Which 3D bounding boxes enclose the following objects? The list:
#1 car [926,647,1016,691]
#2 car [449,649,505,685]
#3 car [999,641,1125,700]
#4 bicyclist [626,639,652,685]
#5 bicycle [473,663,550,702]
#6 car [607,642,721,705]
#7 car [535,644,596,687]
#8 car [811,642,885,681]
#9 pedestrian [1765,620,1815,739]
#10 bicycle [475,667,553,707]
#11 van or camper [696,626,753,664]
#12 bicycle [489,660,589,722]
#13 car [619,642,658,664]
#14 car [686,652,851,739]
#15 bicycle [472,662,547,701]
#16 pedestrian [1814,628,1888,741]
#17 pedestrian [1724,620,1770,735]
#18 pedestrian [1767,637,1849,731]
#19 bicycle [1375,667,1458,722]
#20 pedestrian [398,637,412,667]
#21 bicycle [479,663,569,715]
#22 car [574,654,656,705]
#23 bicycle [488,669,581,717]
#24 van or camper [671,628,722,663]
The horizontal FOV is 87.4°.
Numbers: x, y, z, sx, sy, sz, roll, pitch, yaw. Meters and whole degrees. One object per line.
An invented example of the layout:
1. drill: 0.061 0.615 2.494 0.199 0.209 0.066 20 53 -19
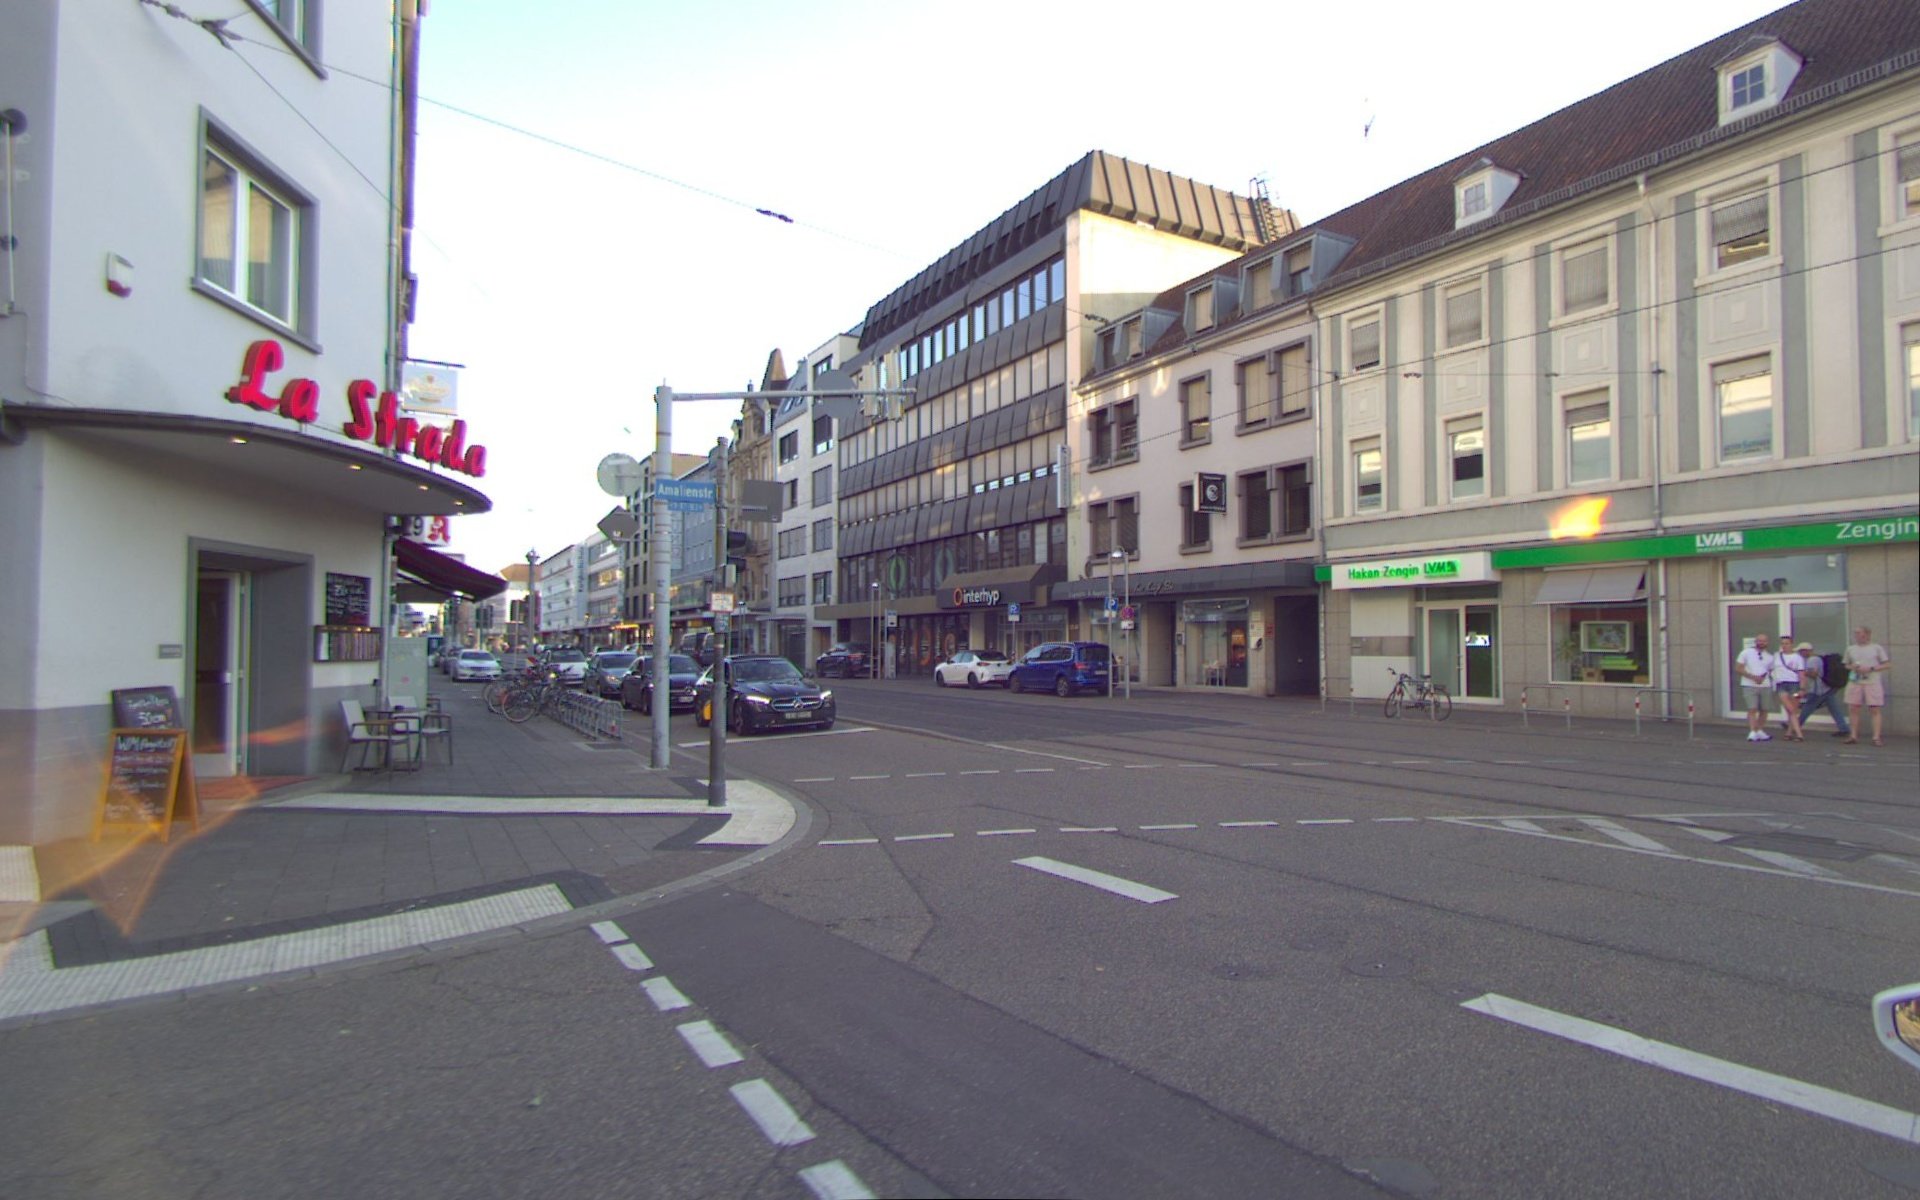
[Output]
1. car: 0.368 2.612 38.635 1.751 1.505 3.842 -1 -2 -30
2. car: -21.365 2.934 44.380 1.745 1.407 4.238 5 -4 -31
3. car: 3.309 2.271 33.430 1.898 1.739 4.529 -1 -2 -29
4. bicyclist: -11.301 2.170 35.347 0.688 1.586 0.792 2 -3 -31
5. bicycle: -12.380 2.291 27.750 1.841 0.996 0.459 5 -4 -30
6. car: -7.803 1.840 26.154 1.898 1.404 4.529 -1 -2 -29
7. car: -15.405 2.500 39.132 1.653 1.525 3.651 -1 -2 -30
8. car: -5.522 2.975 49.163 1.966 1.757 4.636 -1 -2 -29
9. pedestrian: 14.010 1.329 16.963 0.635 1.954 0.523 2 -3 -42
10. bicycle: -12.018 2.351 27.091 1.841 0.996 0.489 5 -4 -30
11. van or camper: -16.369 3.113 69.469 2.170 2.458 6.084 -1 -2 -30
12. bicycle: -8.991 1.951 21.493 1.841 1.242 0.602 5 -4 -30
13. car: -23.880 3.935 74.486 1.927 1.565 4.511 2 -3 -29
14. car: -3.941 1.798 19.973 1.898 1.404 4.529 -1 -2 -29
15. bicycle: -12.635 2.299 28.193 1.841 0.996 0.459 5 -4 -30
16. pedestrian: 14.472 1.354 16.318 0.632 1.768 0.694 1 -3 -28
17. pedestrian: 13.618 1.325 17.381 0.571 1.954 0.490 2 -3 -41
18. pedestrian: 14.747 1.440 17.478 0.690 1.568 0.864 1 -3 -28
19. bicycle: 9.965 2.045 21.993 0.474 1.104 1.633 0 -2 -33
20. pedestrian: -33.319 3.106 60.275 0.642 1.795 0.848 3 -3 -29
21. bicycle: -10.396 2.123 23.969 1.841 1.149 0.602 5 -4 -30
22. car: -10.940 2.451 31.689 1.743 1.404 4.030 -1 -2 -29
23. bicycle: -9.634 2.113 22.781 1.841 0.996 0.602 5 -4 -30
24. van or camper: -19.660 3.365 74.818 2.171 2.458 5.472 -1 -2 -31
